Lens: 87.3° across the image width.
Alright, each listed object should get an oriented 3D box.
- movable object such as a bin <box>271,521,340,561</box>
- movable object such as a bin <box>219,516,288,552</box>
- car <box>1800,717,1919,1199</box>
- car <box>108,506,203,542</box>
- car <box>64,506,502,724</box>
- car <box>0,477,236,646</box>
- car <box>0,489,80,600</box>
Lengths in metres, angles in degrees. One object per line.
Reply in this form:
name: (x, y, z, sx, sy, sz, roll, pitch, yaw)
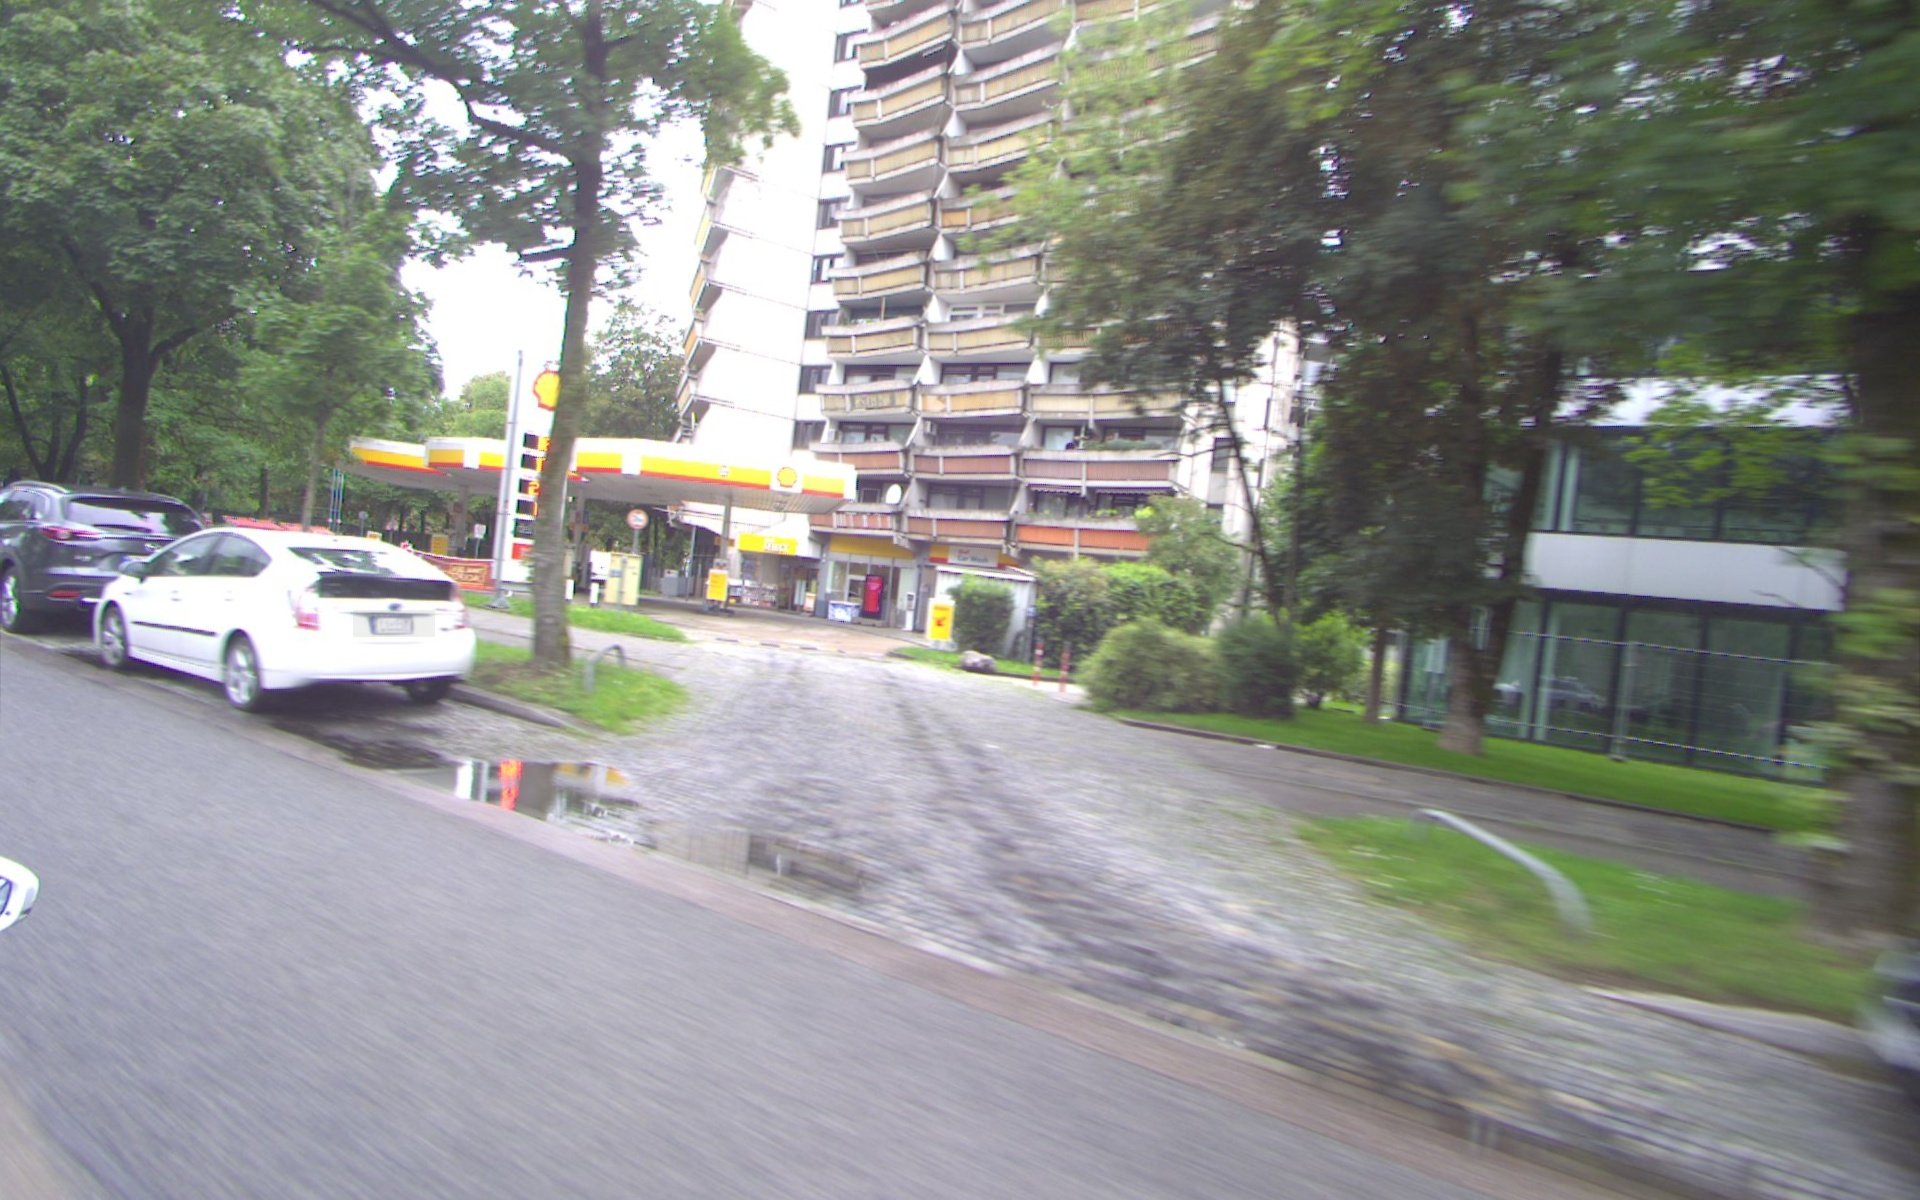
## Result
movable object such as a bin: (-30.868, -2.776, 47.483, 1.807, 1.505, 2.063, 7, 0, 32)
movable object such as a bin: (-32.013, -2.993, 45.578, 1.506, 1.278, 2.062, 7, 0, 32)
car: (5.178, 1.428, 2.418, 4.506, 1.473, 1.676, 7, 2, 32)
car: (-45.456, -4.287, 56.890, 1.903, 1.633, 3.871, 8, 5, 38)
car: (-6.674, 0.037, 9.762, 4.556, 1.473, 1.761, 7, 2, 32)
car: (-11.313, -0.606, 12.590, 5.143, 1.721, 1.761, 7, 2, 32)
car: (-15.409, -0.986, 15.400, 4.074, 1.527, 1.761, 7, 2, 32)
